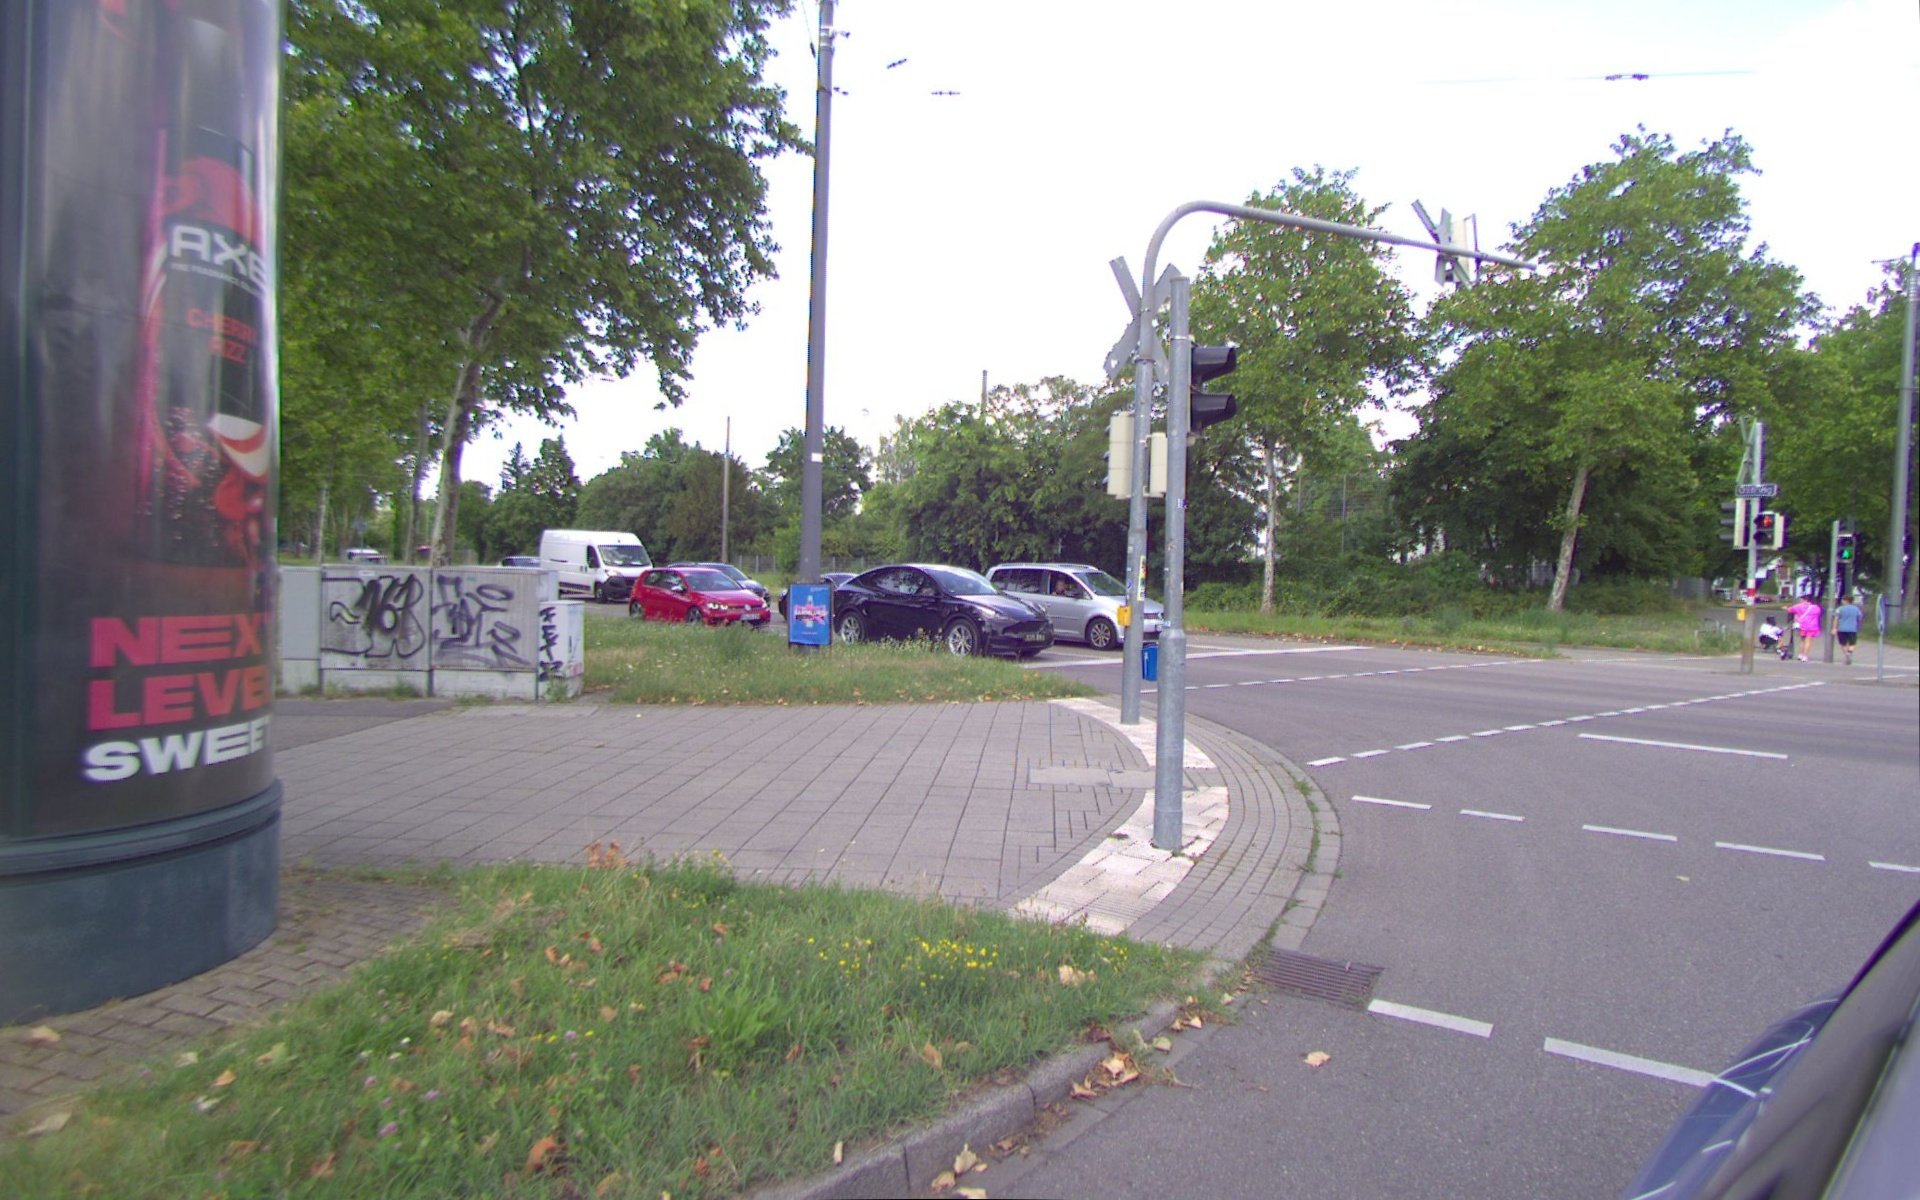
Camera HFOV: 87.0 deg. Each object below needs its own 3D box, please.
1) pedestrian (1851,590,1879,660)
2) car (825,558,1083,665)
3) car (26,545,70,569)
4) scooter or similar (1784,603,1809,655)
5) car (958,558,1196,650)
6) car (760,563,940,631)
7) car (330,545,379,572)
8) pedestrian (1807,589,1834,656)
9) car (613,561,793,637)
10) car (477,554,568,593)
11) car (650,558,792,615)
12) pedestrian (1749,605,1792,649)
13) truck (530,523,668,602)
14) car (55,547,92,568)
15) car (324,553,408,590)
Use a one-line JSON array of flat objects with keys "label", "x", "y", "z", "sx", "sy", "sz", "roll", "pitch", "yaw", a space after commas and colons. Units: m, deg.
[{"label": "pedestrian", "x": 20.451, "y": 0.555, "z": 22.858, "sx": 0.418, "sy": 1.527, "sz": 0.444, "roll": 3, "pitch": 2, "yaw": 43}, {"label": "car", "x": -0.227, "y": 0.092, "z": 18.324, "sx": 1.968, "sy": 1.630, "sz": 4.675, "roll": -1, "pitch": 3, "yaw": -45}, {"label": "car", "x": -56.300, "y": -2.666, "z": 62.502, "sx": 1.648, "sy": 1.408, "sz": 3.307, "roll": 0, "pitch": 2, "yaw": -36}, {"label": "scooter or similar", "x": 19.751, "y": 0.669, "z": 23.884, "sx": 0.394, "sy": 1.175, "sz": 1.100, "roll": 3, "pitch": 2, "yaw": 40}, {"label": "car", "x": 2.303, "y": -0.014, "z": 20.923, "sx": 4.674, "sy": 1.630, "sz": 1.968, "roll": 3, "pitch": 3, "yaw": 45}, {"label": "car", "x": -2.865, "y": -0.151, "z": 25.511, "sx": 4.736, "sy": 1.487, "sz": 1.968, "roll": 3, "pitch": 3, "yaw": 45}, {"label": "car", "x": -40.723, "y": -2.805, "z": 68.026, "sx": 1.967, "sy": 1.727, "sz": 3.992, "roll": 0, "pitch": 2, "yaw": -43}, {"label": "pedestrian", "x": 19.988, "y": 0.520, "z": 23.512, "sx": 0.418, "sy": 1.527, "sz": 0.387, "roll": 3, "pitch": 2, "yaw": 43}, {"label": "car", "x": -6.129, "y": -0.099, "z": 23.807, "sx": 4.674, "sy": 1.532, "sz": 1.968, "roll": 3, "pitch": 3, "yaw": 45}, {"label": "car", "x": -18.660, "y": -1.151, "z": 43.061, "sx": 4.674, "sy": 1.532, "sz": 1.968, "roll": 3, "pitch": 3, "yaw": 45}, {"label": "car", "x": -7.245, "y": -0.456, "z": 30.363, "sx": 4.674, "sy": 1.532, "sz": 1.968, "roll": 3, "pitch": 3, "yaw": 45}, {"label": "pedestrian", "x": 20.355, "y": 0.670, "z": 25.413, "sx": 0.721, "sy": 1.047, "sz": 0.887, "roll": 3, "pitch": 2, "yaw": 45}, {"label": "truck", "x": -13.188, "y": -1.378, "z": 36.652, "sx": 2.180, "sy": 2.628, "sz": 6.493, "roll": 0, "pitch": 2, "yaw": -44}, {"label": "car", "x": -61.363, "y": -2.971, "z": 70.084, "sx": 1.648, "sy": 1.408, "sz": 3.307, "roll": 0, "pitch": 2, "yaw": -36}, {"label": "car", "x": -26.444, "y": -1.283, "z": 44.959, "sx": 4.671, "sy": 1.532, "sz": 1.970, "roll": 3, "pitch": 3, "yaw": 43}]
